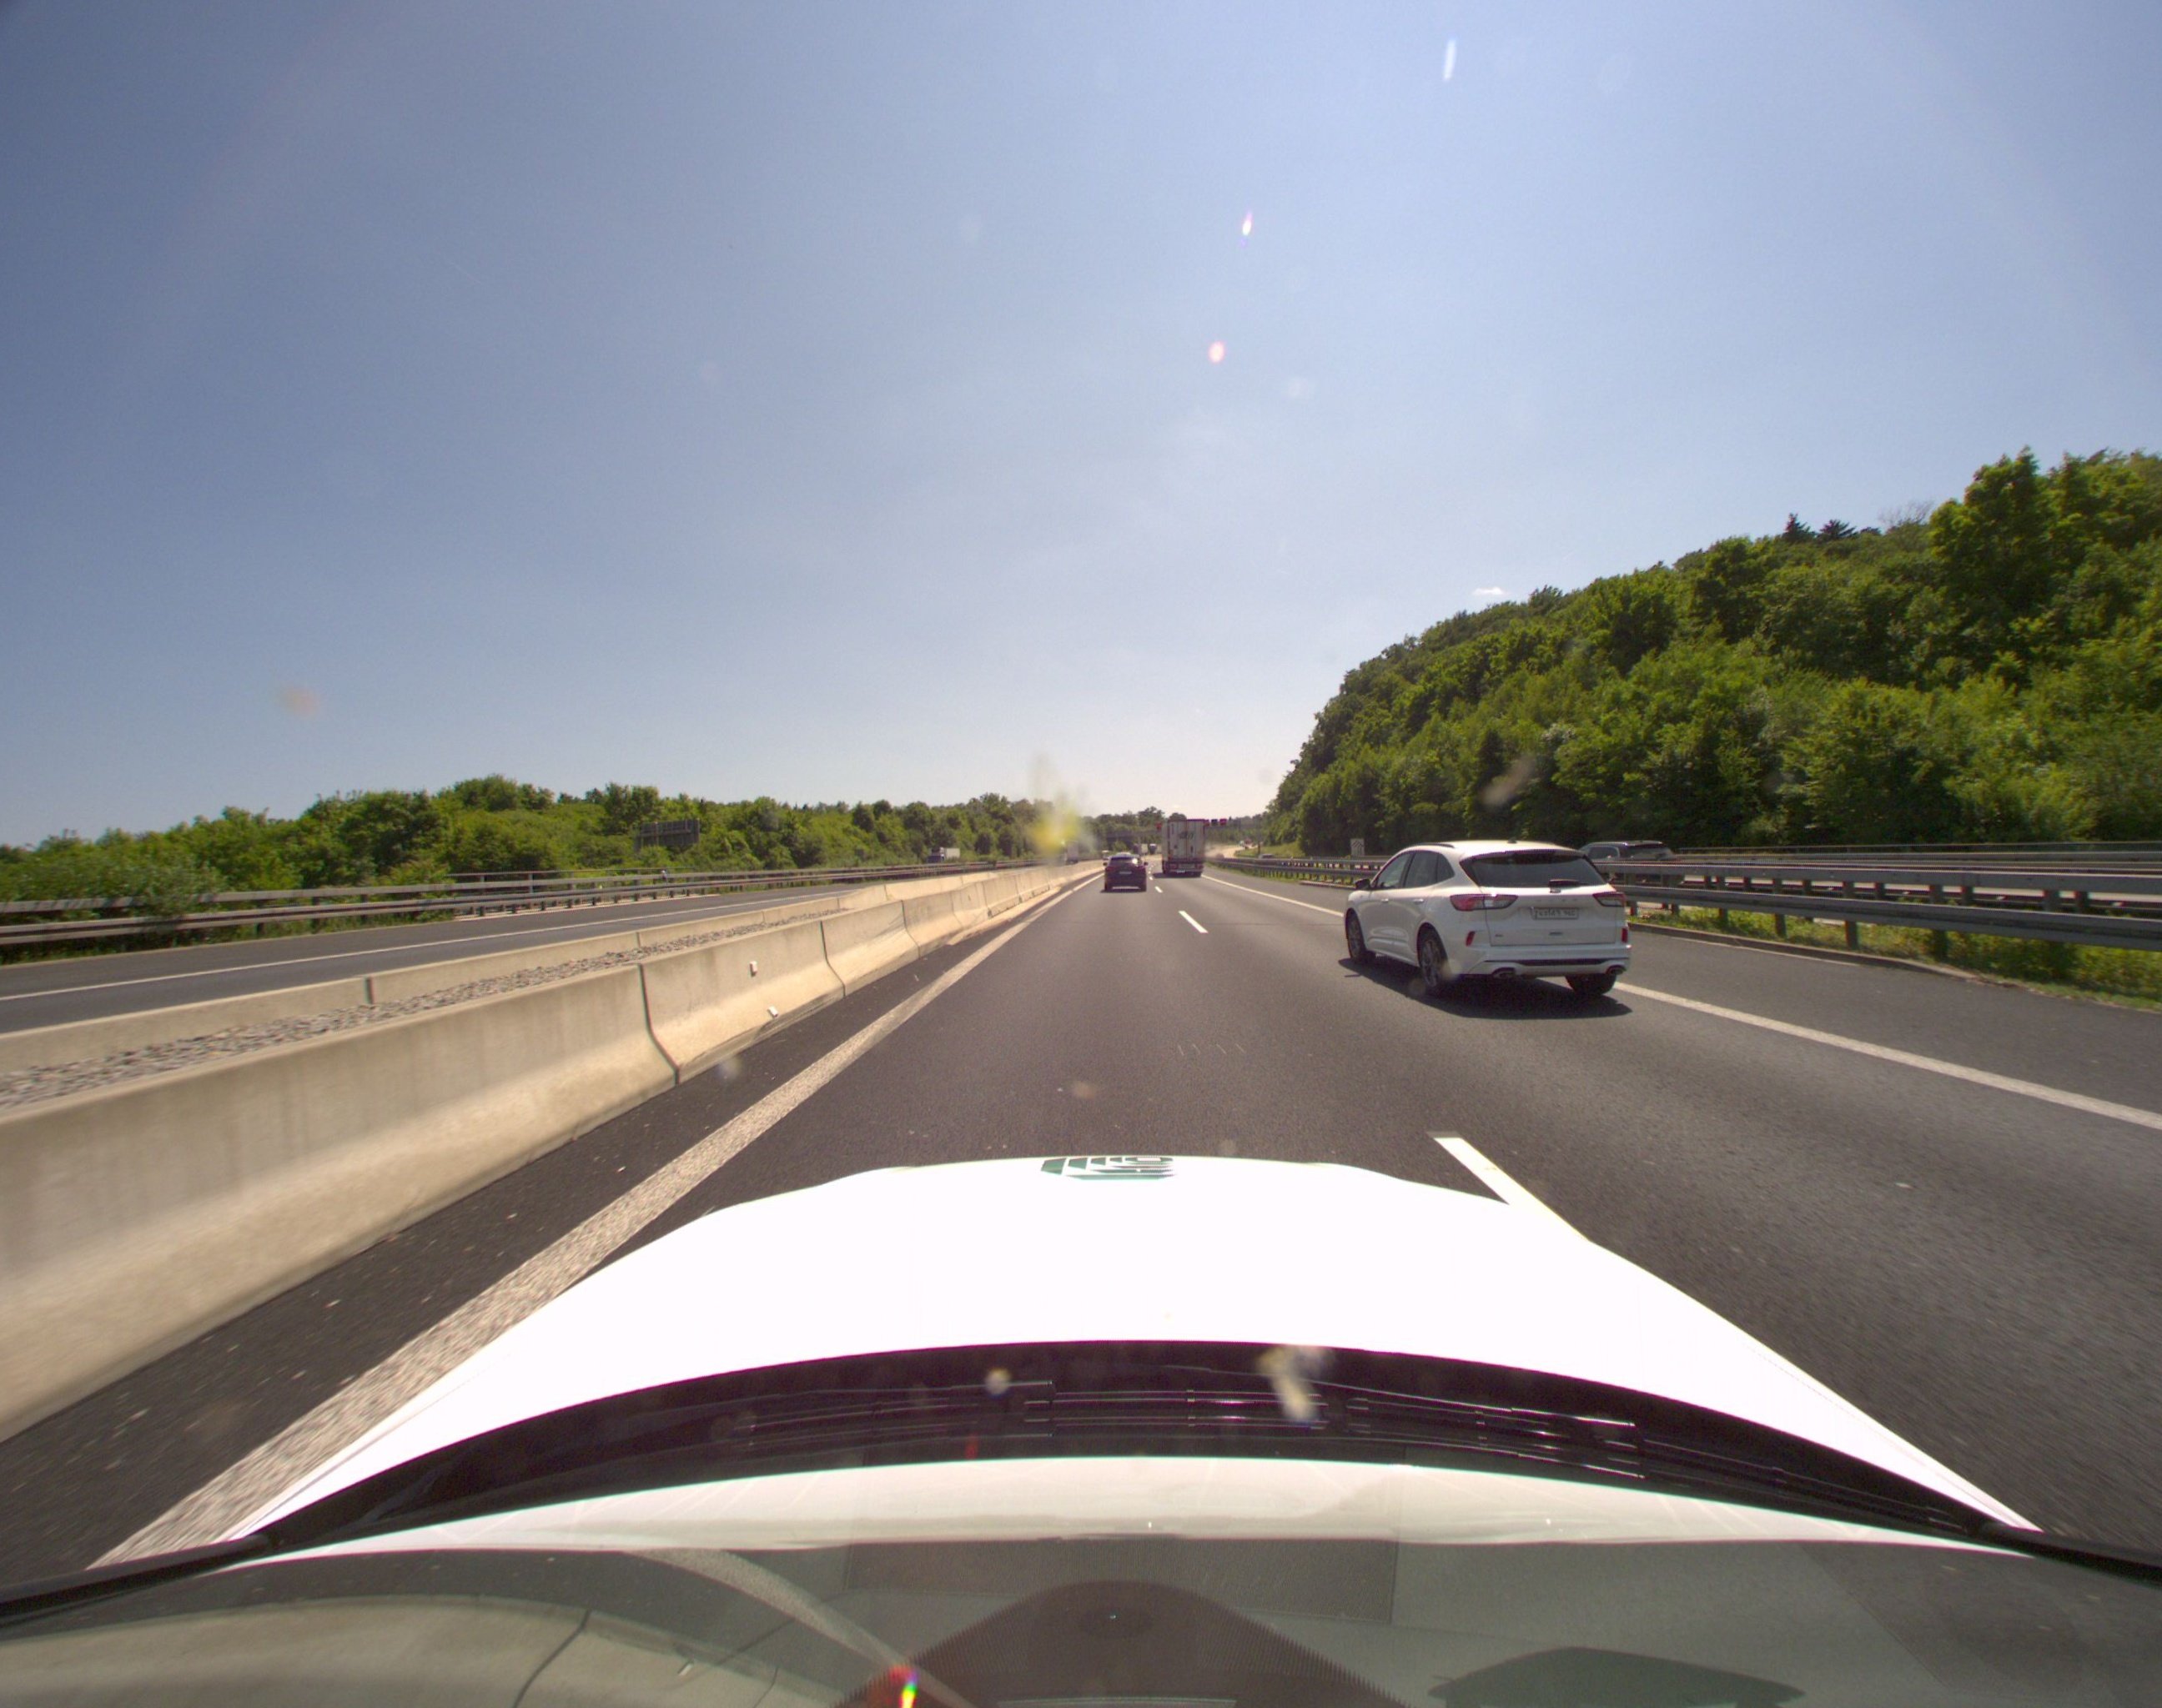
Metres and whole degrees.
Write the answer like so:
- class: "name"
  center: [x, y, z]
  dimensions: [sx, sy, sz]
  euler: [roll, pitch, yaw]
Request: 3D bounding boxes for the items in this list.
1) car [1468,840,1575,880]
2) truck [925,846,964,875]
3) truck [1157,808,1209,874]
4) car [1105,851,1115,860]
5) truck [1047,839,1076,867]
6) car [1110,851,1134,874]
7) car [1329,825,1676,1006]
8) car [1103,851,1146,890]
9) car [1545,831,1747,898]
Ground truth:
- class: "car"
  center: [19.964, 0.262, 37.207]
  dimensions: [1.988, 1.662, 5.226]
  euler: [-1, 0, -1]
- class: "truck"
  center: [-19.703, 1.003, 118.344]
  dimensions: [2.683, 3.960, 10.796]
  euler: [-2, -1, 7]
- class: "truck"
  center: [7.537, -0.787, 61.640]
  dimensions: [3.019, 4.418, 12.029]
  euler: [-1, -1, 4]
- class: "car"
  center: [6.471, 0.323, 182.446]
  dimensions: [1.987, 2.013, 3.999]
  euler: [-1, 0, 0]
- class: "truck"
  center: [-2.816, -0.079, 121.521]
  dimensions: [2.683, 3.960, 10.796]
  euler: [-2, -1, 7]
- class: "car"
  center: [3.986, 0.831, 80.144]
  dimensions: [1.987, 2.013, 4.000]
  euler: [-4, 0, 0]
- class: "car"
  center: [4.642, 0.613, 9.899]
  dimensions: [1.986, 1.662, 4.469]
  euler: [-1, -1, 2]
- class: "car"
  center: [1.960, 0.709, 35.897]
  dimensions: [1.771, 1.577, 4.005]
  euler: [-1, -1, 4]
- class: "car"
  center: [16.090, 0.307, 23.705]
  dimensions: [1.987, 1.662, 5.626]
  euler: [-1, -1, 1]
